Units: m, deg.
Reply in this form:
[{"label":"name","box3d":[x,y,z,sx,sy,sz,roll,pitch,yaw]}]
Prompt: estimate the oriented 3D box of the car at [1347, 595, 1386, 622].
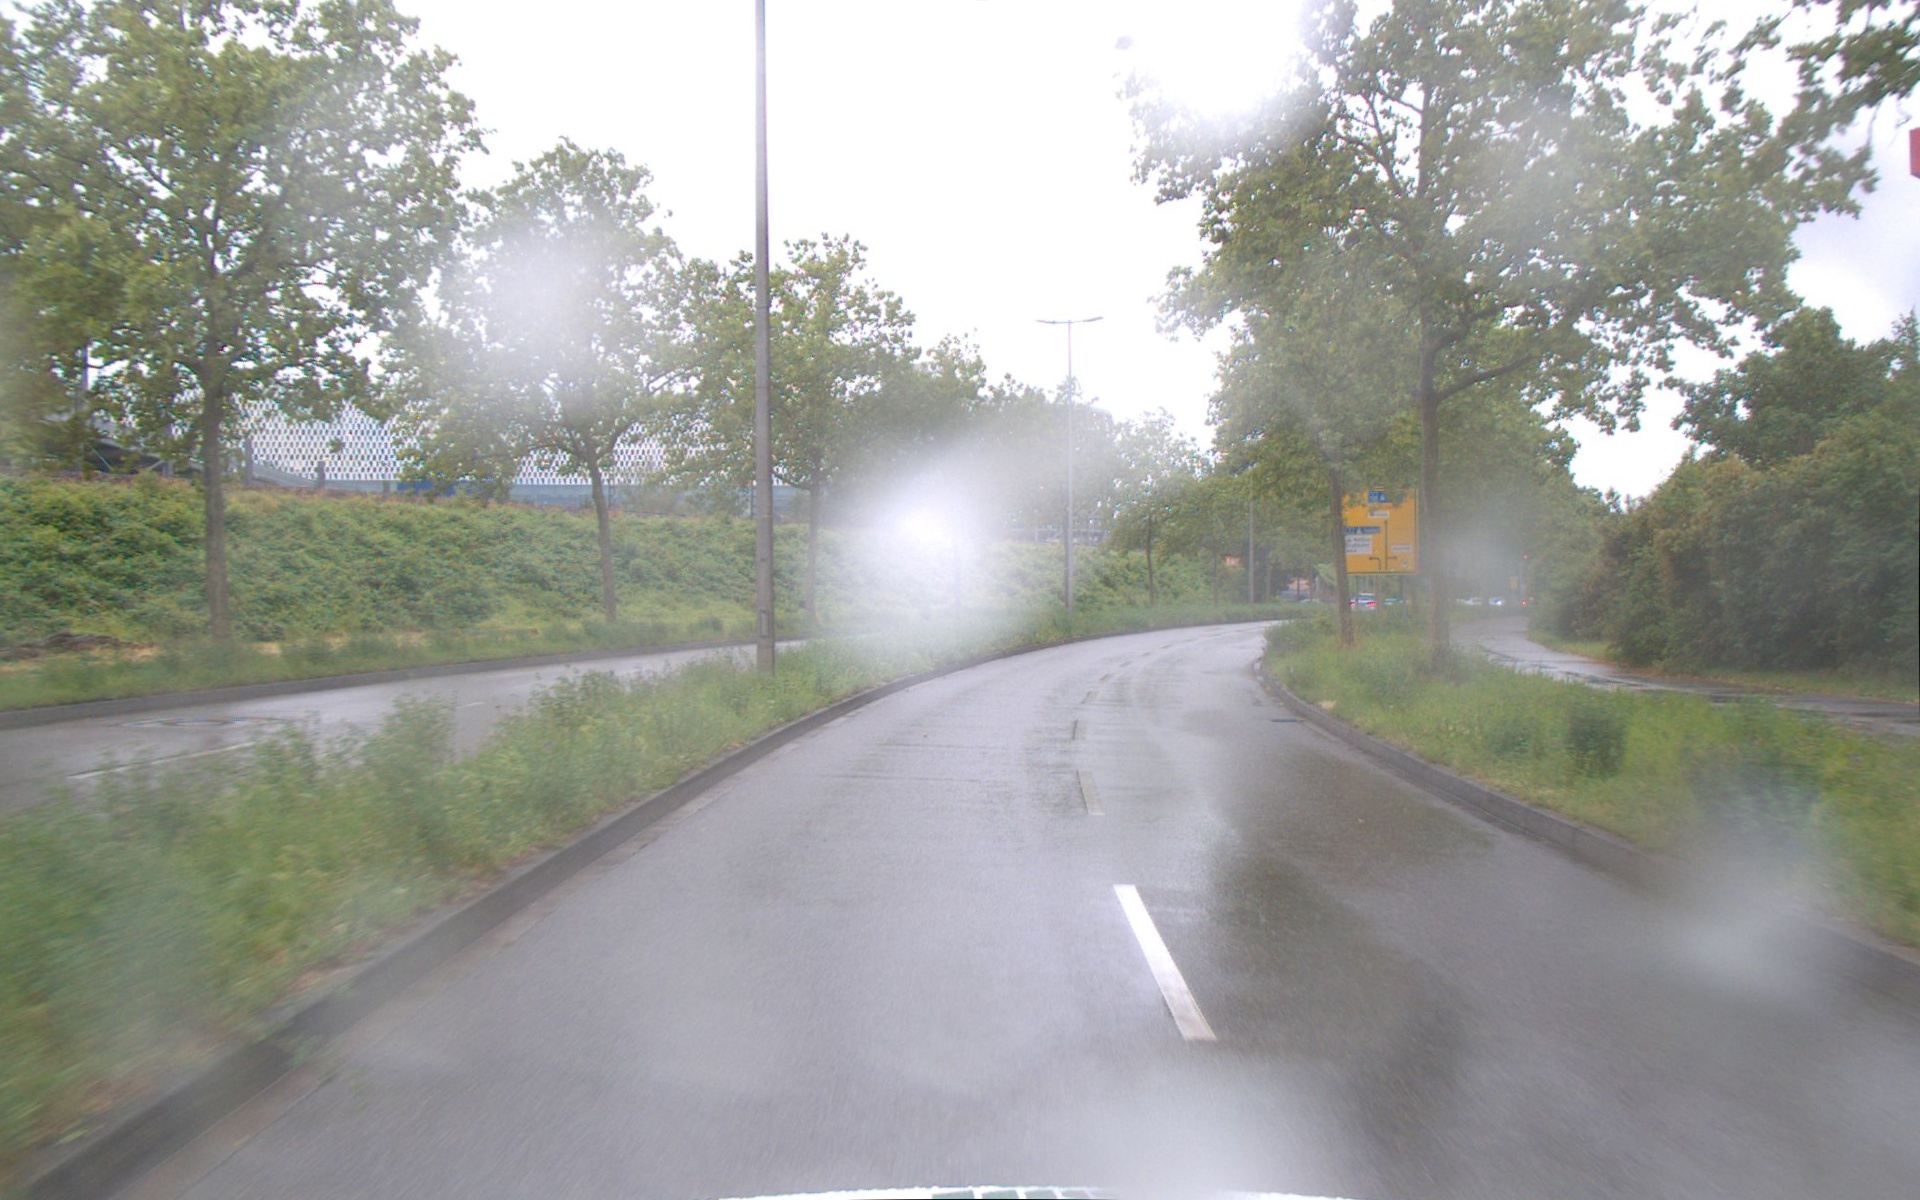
[{"label":"car","box3d":[25.042,0.502,101.832,1.743,1.583,4.000,2,0,21]}]
